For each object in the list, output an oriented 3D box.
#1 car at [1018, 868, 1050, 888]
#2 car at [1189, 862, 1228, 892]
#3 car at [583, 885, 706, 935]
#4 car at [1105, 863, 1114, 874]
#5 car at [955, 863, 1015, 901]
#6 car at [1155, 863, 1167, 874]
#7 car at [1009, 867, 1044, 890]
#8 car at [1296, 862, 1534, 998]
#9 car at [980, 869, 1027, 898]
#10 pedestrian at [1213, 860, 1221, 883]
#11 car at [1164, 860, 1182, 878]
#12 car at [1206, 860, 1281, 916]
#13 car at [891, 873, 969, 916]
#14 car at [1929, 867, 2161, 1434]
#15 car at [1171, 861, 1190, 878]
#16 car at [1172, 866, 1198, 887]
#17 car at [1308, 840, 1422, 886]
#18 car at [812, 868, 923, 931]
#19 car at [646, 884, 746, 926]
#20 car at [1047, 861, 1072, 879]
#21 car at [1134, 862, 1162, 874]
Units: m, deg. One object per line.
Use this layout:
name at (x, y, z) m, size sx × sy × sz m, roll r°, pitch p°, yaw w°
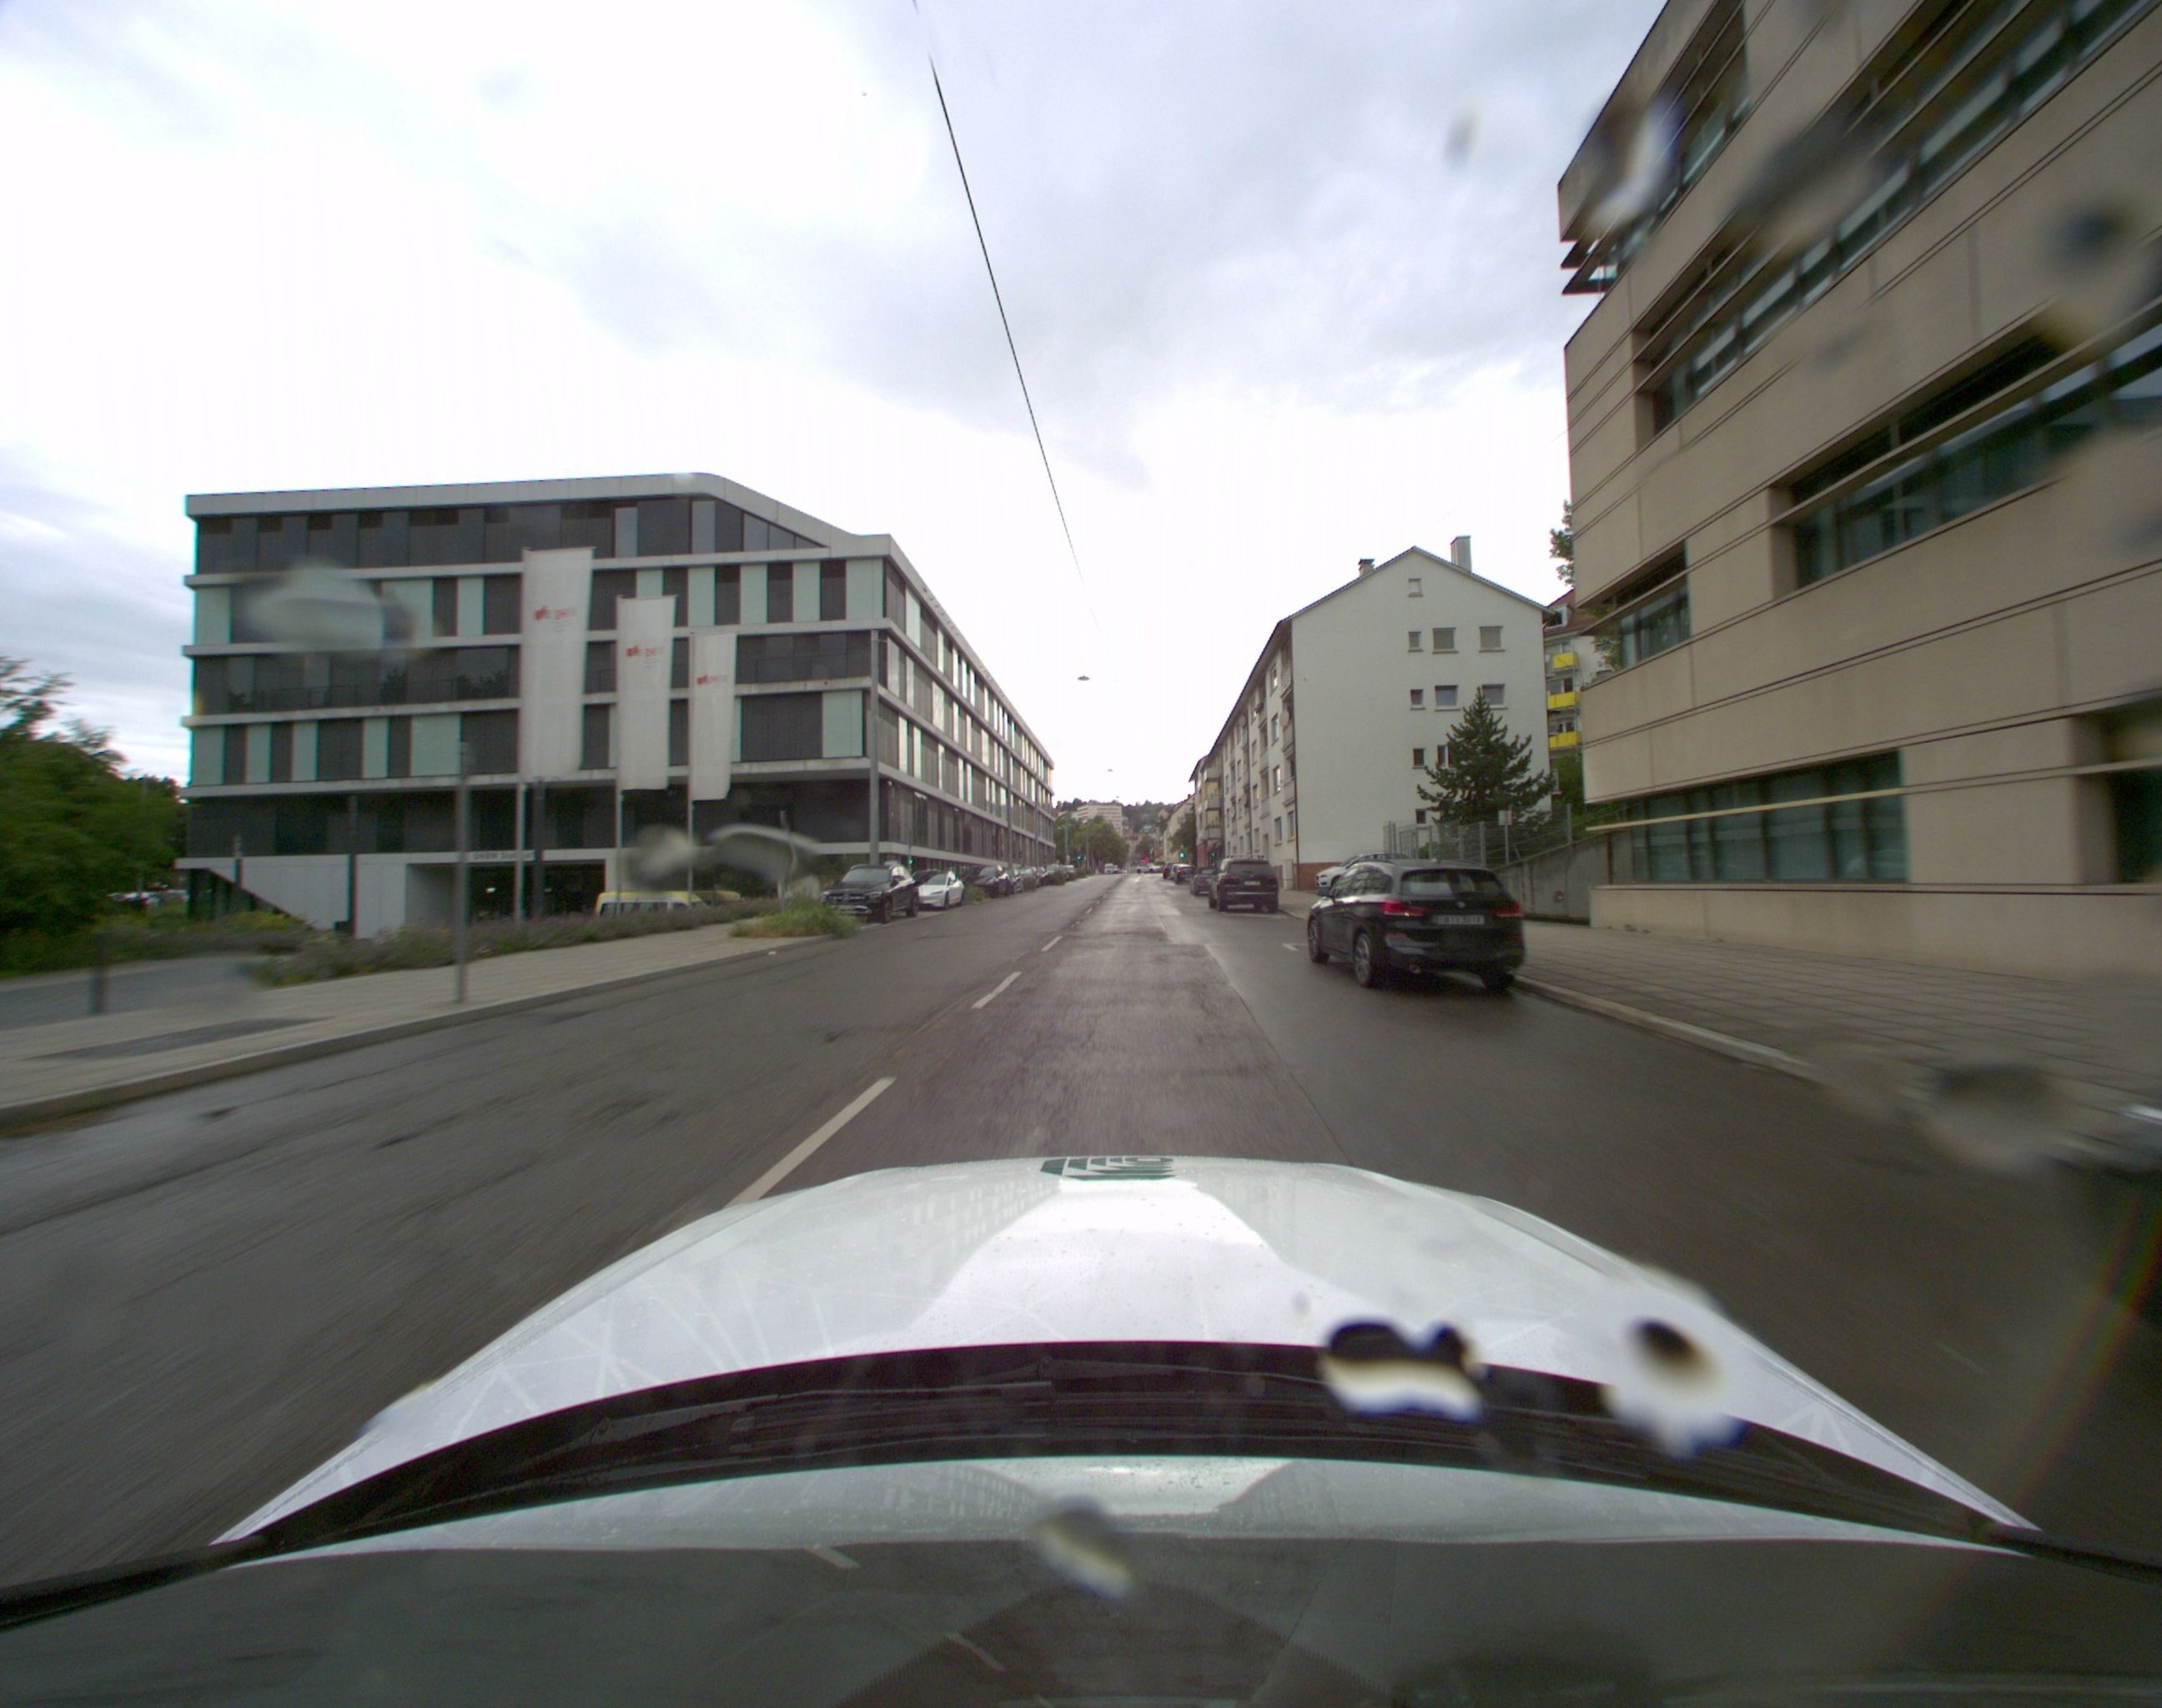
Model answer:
car at (-3.569, 1.843, 62.712) m, size 1.829 × 1.396 × 4.397 m, roll 0°, pitch 0°, yaw 4°
car at (6.687, 1.185, 43.112) m, size 1.666 × 1.459 × 3.768 m, roll -1°, pitch 0°, yaw 3°
car at (-20.007, 2.539, 37.465) m, size 4.578 × 2.174 × 1.930 m, roll 0°, pitch -1°, yaw -2°
car at (6.632, 3.475, 190.931) m, size 2.097 × 2.546 × 4.752 m, roll 0°, pitch -1°, yaw 2°
car at (-4.751, 1.353, 41.082) m, size 1.953 × 1.750 × 4.950 m, roll 0°, pitch 0°, yaw 6°
car at (13.317, 2.351, 134.757) m, size 1.857 × 1.770 × 4.197 m, roll 0°, pitch -1°, yaw 7°
car at (-3.717, 1.672, 56.359) m, size 1.854 × 1.489 × 4.351 m, roll 0°, pitch 0°, yaw 4°
car at (4.379, 0.887, 11.452) m, size 1.736 × 1.533 × 4.322 m, roll 0°, pitch 0°, yaw 3°
car at (-4.411, 1.657, 47.027) m, size 1.863 × 1.473 × 4.746 m, roll 0°, pitch 0°, yaw 4°
pedestrian at (11.329, 1.471, 67.796) m, size 0.636 × 1.870 × 0.539 m, roll 0°, pitch -1°, yaw 6°
car at (9.375, 1.475, 83.339) m, size 1.647 × 1.738 × 4.184 m, roll -1°, pitch 0°, yaw 4°
car at (5.555, 1.106, 28.377) m, size 1.927 × 1.750 × 4.801 m, roll 0°, pitch 0°, yaw 4°
car at (-5.645, 1.485, 30.961) m, size 1.813 × 1.419 × 4.407 m, roll 0°, pitch 0°, yaw 4°
car at (3.667, 0.791, 0.751) m, size 1.718 × 1.512 × 4.061 m, roll 1°, pitch -1°, yaw 3°
car at (9.346, 1.449, 76.564) m, size 1.628 × 1.571 × 3.714 m, roll 0°, pitch 0°, yaw 4°
car at (7.951, 1.709, 62.500) m, size 1.699 × 1.454 × 3.988 m, roll 0°, pitch 0°, yaw 4°
car at (12.686, 0.396, 36.587) m, size 4.419 × 1.712 × 1.906 m, roll -4°, pitch -1°, yaw 3°
car at (-6.221, 1.271, 24.276) m, size 1.841 × 1.617 × 4.496 m, roll 0°, pitch 0°, yaw 4°
car at (-19.582, 2.591, 41.502) m, size 4.323 × 2.032 × 1.600 m, roll 0°, pitch -1°, yaw 3°
car at (-2.072, 1.531, 78.351) m, size 1.792 × 1.604 × 4.242 m, roll 0°, pitch -1°, yaw 7°
car at (10.292, 2.126, 125.642) m, size 4.152 × 1.669 × 1.650 m, roll -5°, pitch -6°, yaw 43°
